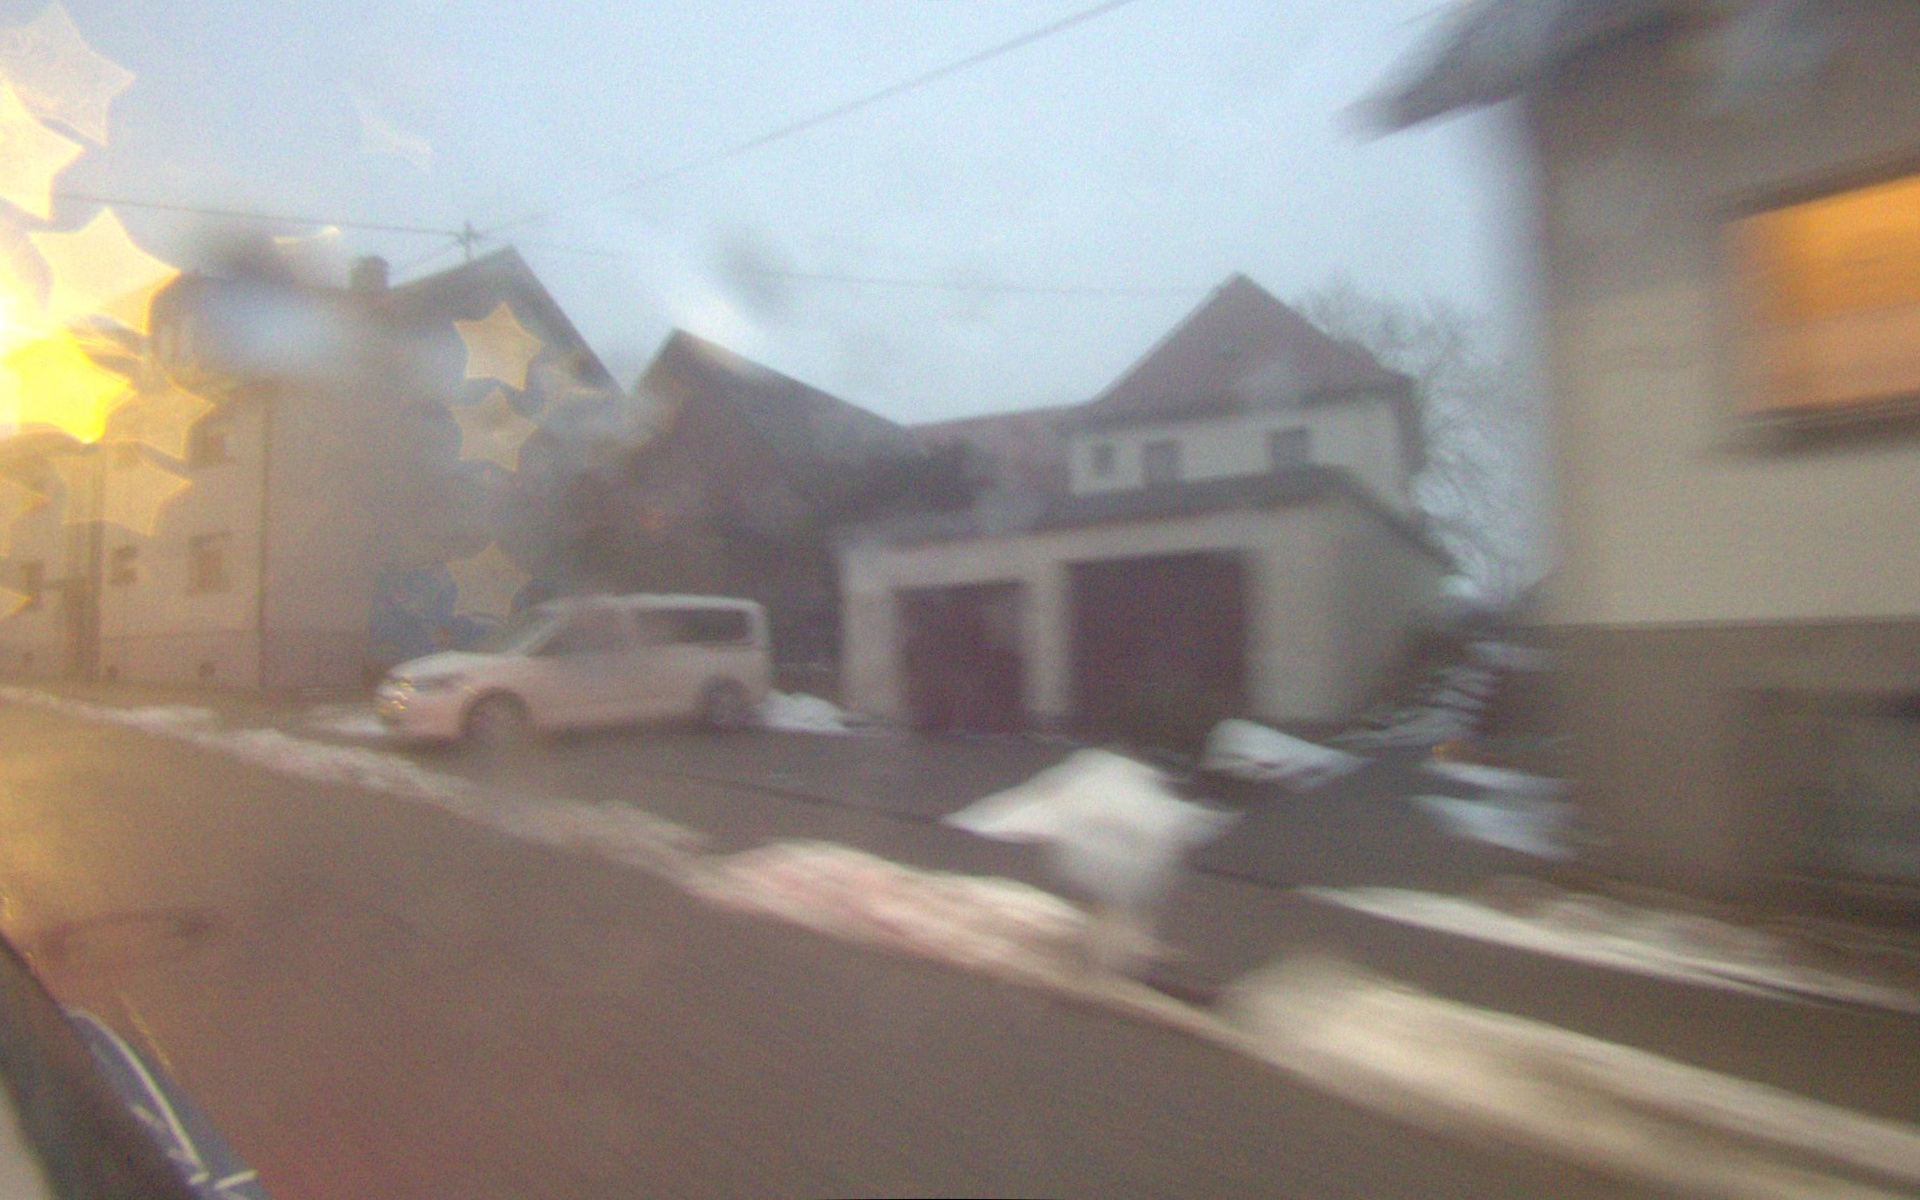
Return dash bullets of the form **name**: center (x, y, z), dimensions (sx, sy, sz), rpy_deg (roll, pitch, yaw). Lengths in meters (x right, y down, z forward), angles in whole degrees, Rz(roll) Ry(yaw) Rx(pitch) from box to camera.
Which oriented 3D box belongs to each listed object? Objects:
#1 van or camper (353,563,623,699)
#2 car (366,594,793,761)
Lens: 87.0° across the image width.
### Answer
- **van or camper**: center (-9.586, 0.679, 21.204), dimensions (2.127, 2.467, 5.276), rpy_deg (0, -3, 17)
- **car**: center (-4.667, 0.822, 12.956), dimensions (4.736, 1.679, 1.892), rpy_deg (-2, 0, -44)
